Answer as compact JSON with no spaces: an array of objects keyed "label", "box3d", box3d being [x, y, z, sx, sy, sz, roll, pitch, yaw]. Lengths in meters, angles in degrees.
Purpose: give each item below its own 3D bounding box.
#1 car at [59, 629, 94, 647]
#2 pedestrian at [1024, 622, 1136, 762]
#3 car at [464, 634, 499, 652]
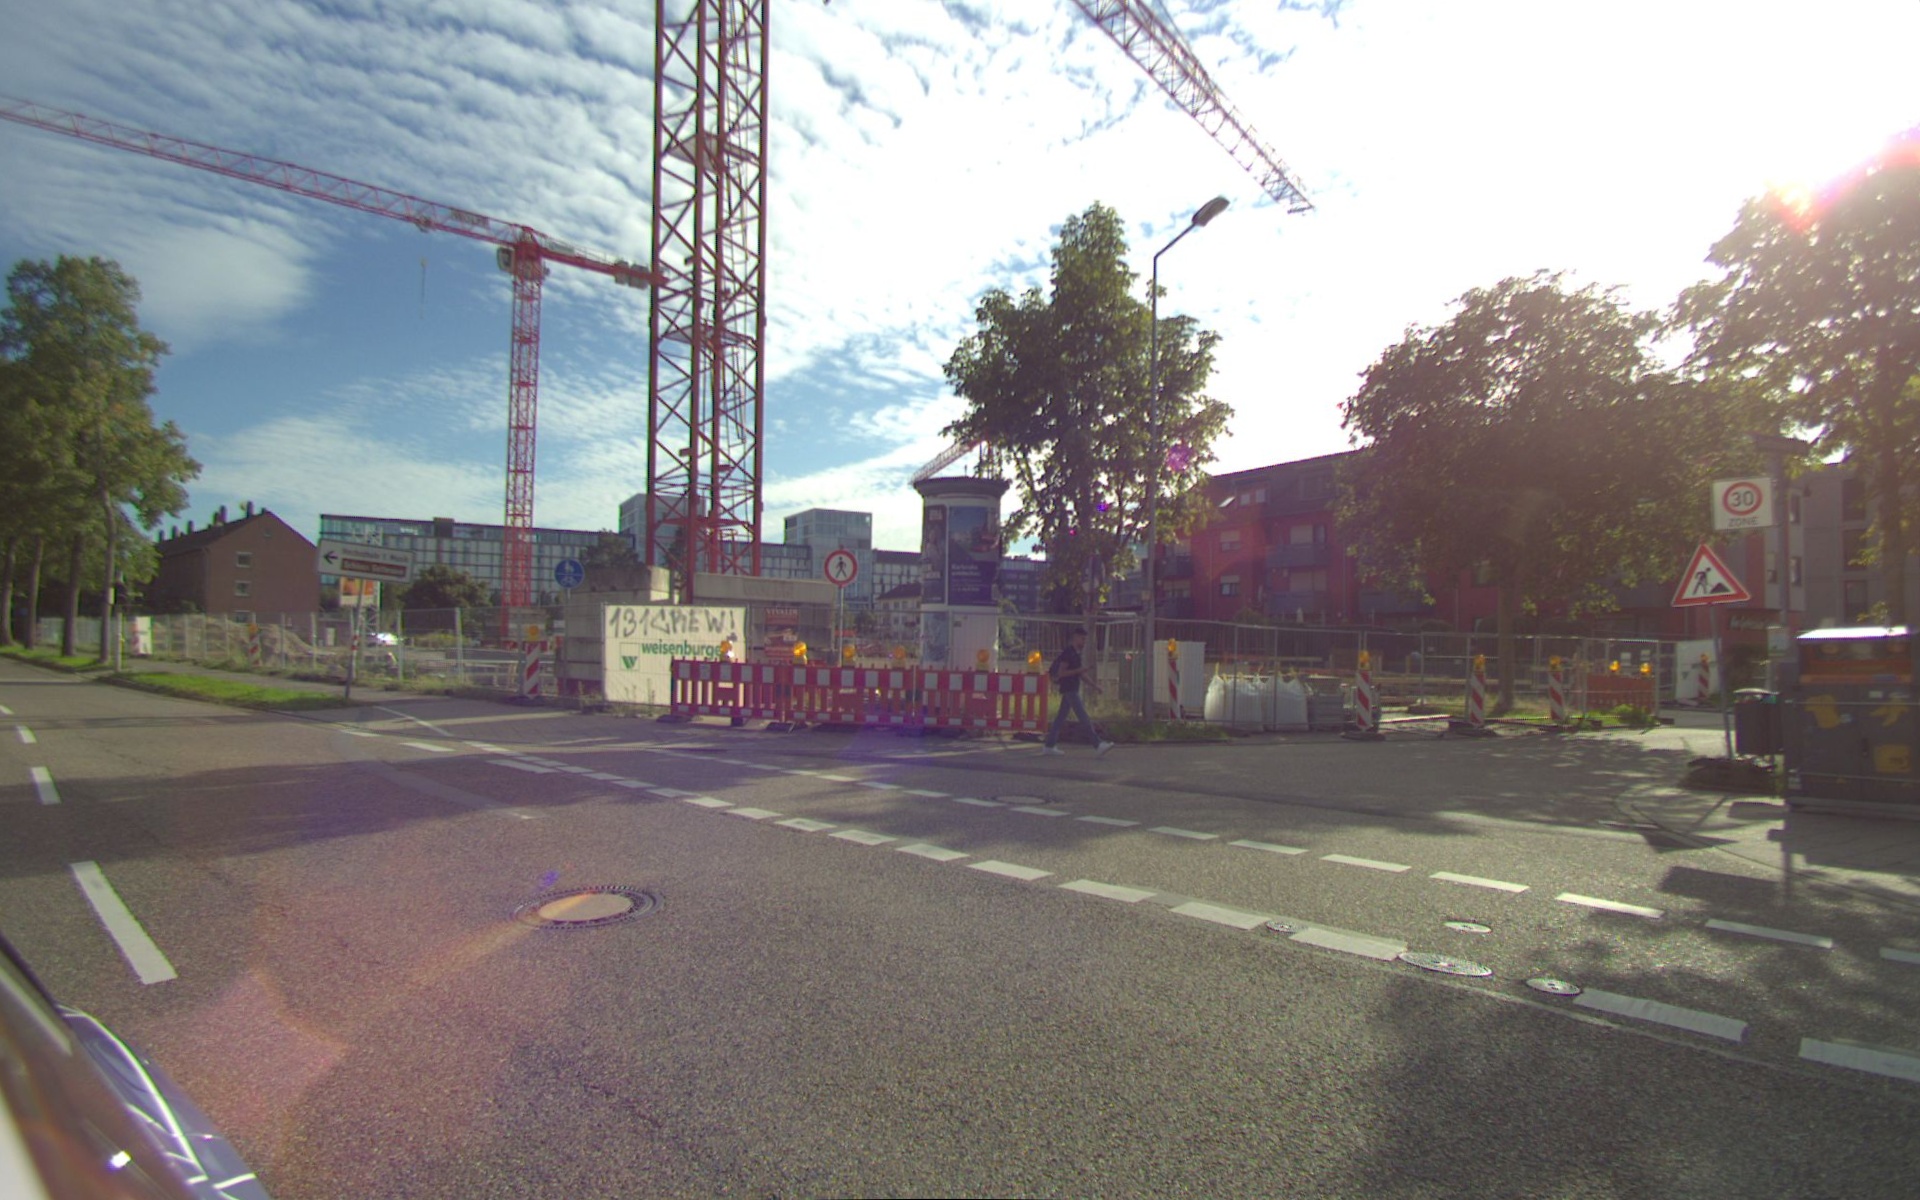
[{"label":"car","box3d":[-78.069,3.328,89.411,4.509,1.439,1.971,0,-3,44]},{"label":"pedestrian","box3d":[1.618,1.187,13.551,1.173,1.741,1.000,0,-2,30]},{"label":"car","box3d":[-53.523,4.765,113.208,3.978,1.821,1.795,1,-1,37]}]
